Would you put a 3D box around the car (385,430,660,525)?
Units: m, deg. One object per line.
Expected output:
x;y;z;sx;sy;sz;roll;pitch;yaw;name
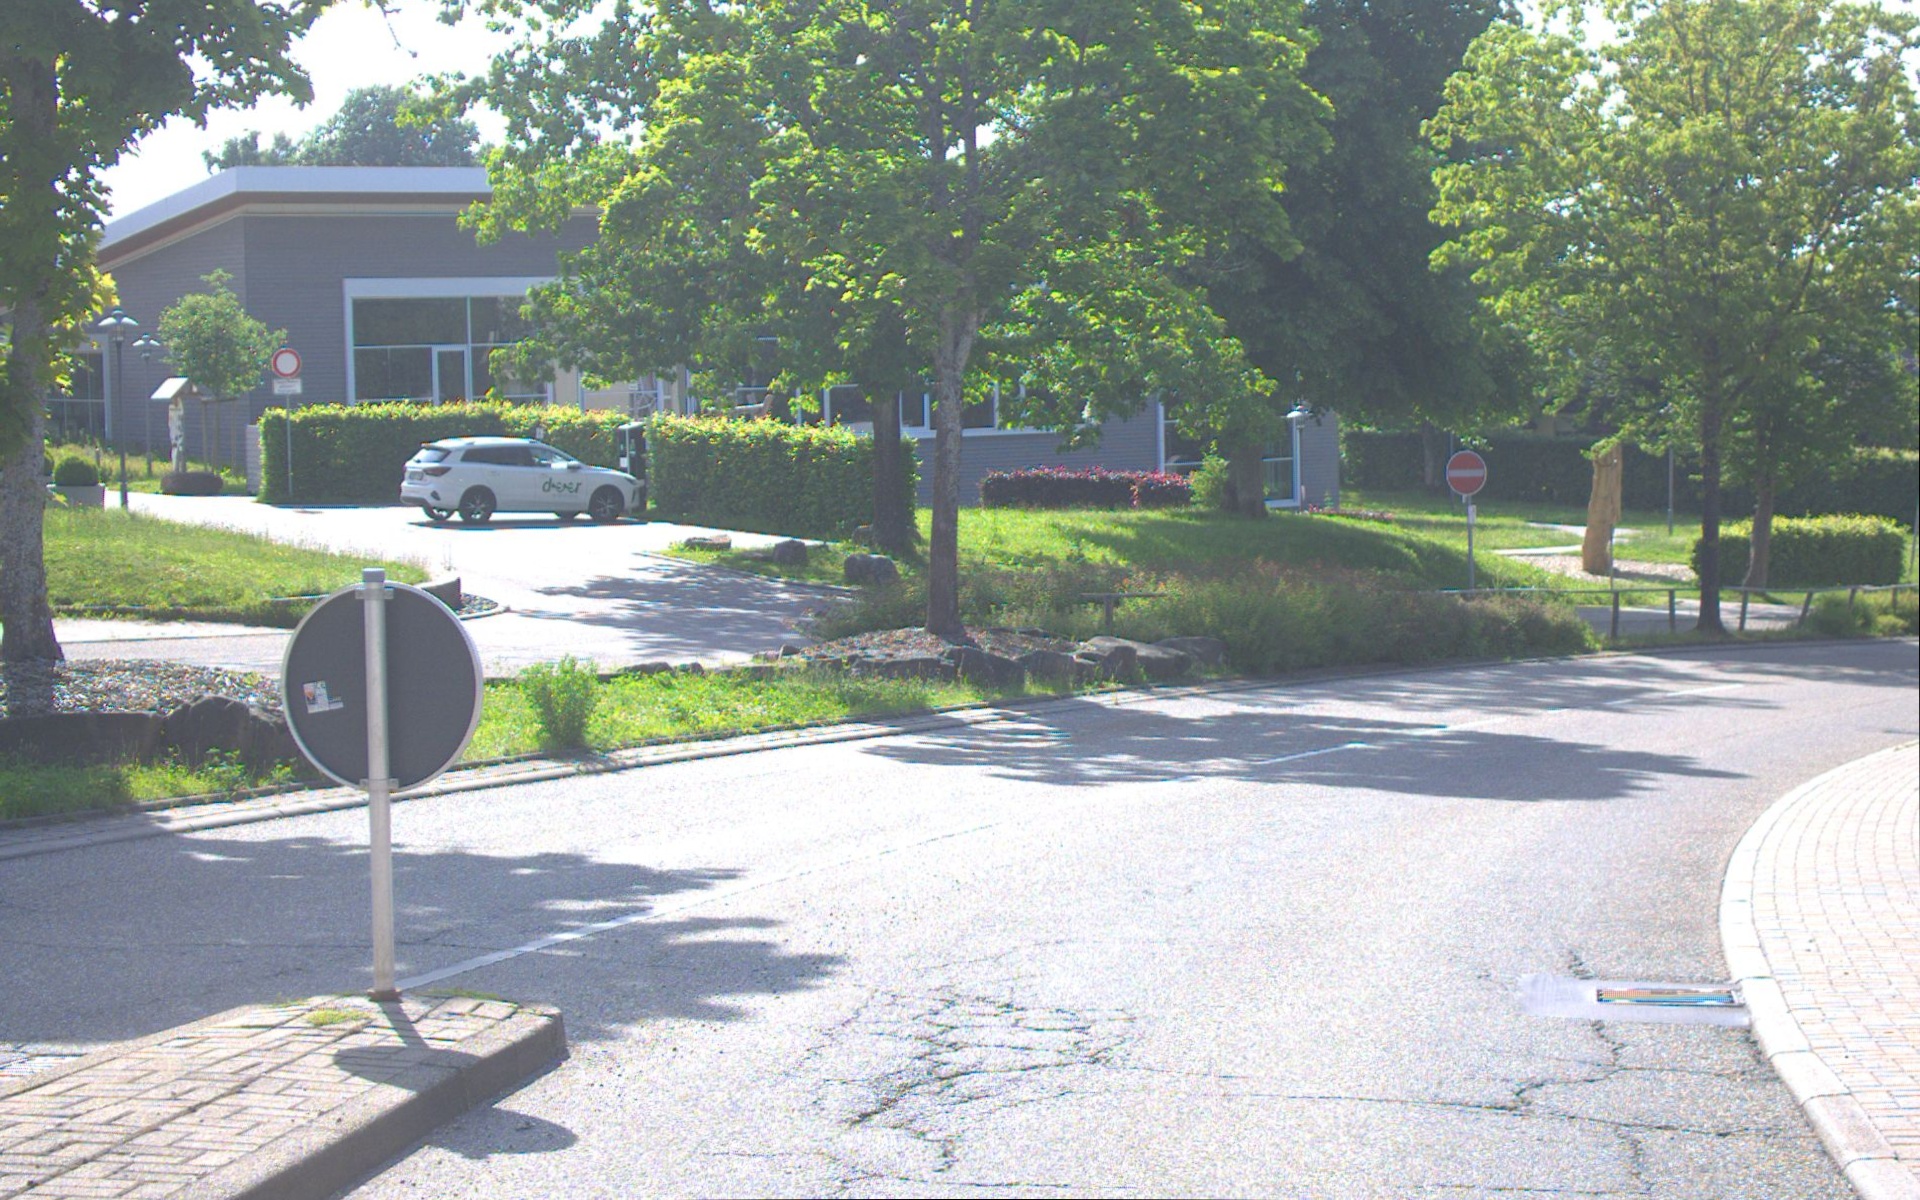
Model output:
-8.232;-2.337;64.756;4.715;1.528;2.001;-3;8;-32;car
